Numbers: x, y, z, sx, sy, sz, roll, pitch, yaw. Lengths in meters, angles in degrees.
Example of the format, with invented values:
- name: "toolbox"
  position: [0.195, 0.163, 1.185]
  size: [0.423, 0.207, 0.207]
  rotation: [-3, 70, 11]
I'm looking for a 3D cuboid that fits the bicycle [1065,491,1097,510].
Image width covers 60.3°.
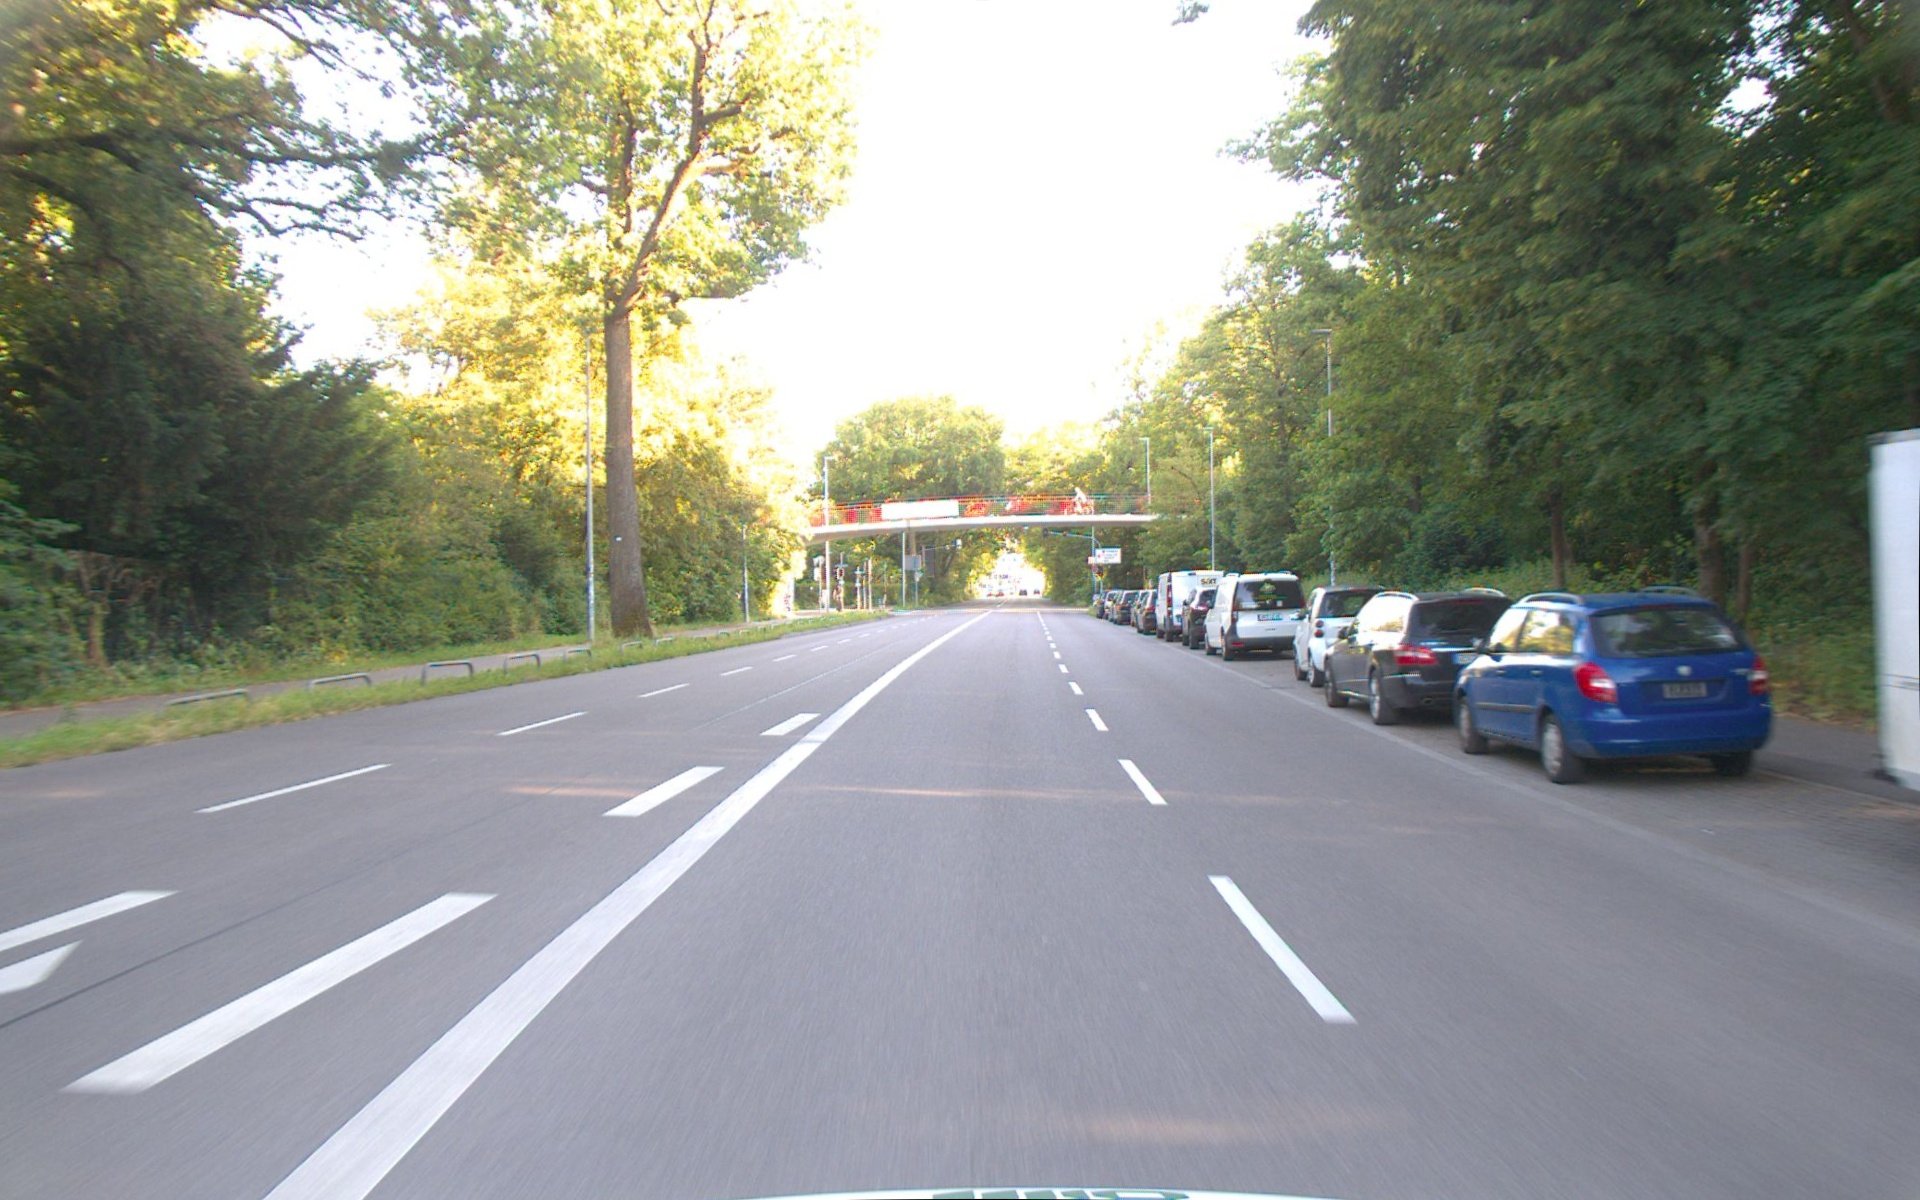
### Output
- name: "bicycle"
  position: [7.633, -6.279, 104.397]
  size: [1.946, 1.167, 0.714]
  rotation: [1, -1, 0]

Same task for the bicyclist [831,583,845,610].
- name: "bicyclist"
  position: [-7.309, -0.222, 99.077]
  size: [0.697, 1.586, 1.143]
  rotation: [1, -1, 2]

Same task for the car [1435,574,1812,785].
- name: "car"
  position: [5.675, 0.604, 14.769]
  size: [1.643, 1.562, 4.353]
  rotation: [-1, 0, 1]

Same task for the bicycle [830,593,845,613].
- name: "bicycle"
  position: [-7.320, 0.201, 99.074]
  size: [0.697, 1.167, 1.994]
  rotation: [1, 0, 2]

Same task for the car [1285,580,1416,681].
- name: "car"
  position: [6.356, 0.470, 27.209]
  size: [1.552, 1.521, 3.182]
  rotation: [-1, 0, 3]

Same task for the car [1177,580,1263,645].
- name: "car"
  position: [6.759, 0.313, 43.383]
  size: [1.722, 1.574, 4.430]
  rotation: [-1, 0, 2]

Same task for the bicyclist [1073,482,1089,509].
- name: "bicyclist"
  position: [7.650, -6.610, 104.405]
  size: [0.950, 1.614, 0.714]
  rotation: [1, -1, 0]

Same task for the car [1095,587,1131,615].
- name: "car"
  position: [8.309, 0.059, 89.812]
  size: [1.737, 1.479, 4.389]
  rotation: [-1, 0, 3]

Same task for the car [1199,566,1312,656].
- name: "car"
  position: [6.543, 0.233, 37.058]
  size: [1.723, 1.835, 4.738]
  rotation: [-1, 0, 1]

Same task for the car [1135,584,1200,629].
- name: "car"
  position: [7.010, 0.213, 56.303]
  size: [1.830, 1.431, 4.370]
  rotation: [-1, 0, 2]

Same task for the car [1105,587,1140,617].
- name: "car"
  position: [8.364, 0.100, 85.395]
  size: [1.737, 1.479, 4.016]
  rotation: [-1, 0, 5]

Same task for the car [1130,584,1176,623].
- name: "car"
  position: [7.690, 0.124, 66.112]
  size: [1.552, 1.479, 3.944]
  rotation: [-1, 0, 3]

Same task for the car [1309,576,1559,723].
- name: "car"
  position: [5.697, 0.542, 20.540]
  size: [1.723, 1.562, 4.989]
  rotation: [-1, 0, 1]

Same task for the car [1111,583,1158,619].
- name: "car"
  position: [7.612, 0.053, 72.485]
  size: [1.603, 1.479, 4.898]
  rotation: [-1, 0, 1]

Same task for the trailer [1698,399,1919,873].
- name: "trailer"
  position: [5.918, 0.171, 8.582]
  size: [1.865, 2.466, 5.127]
  rotation: [-1, 0, 0]

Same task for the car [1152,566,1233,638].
- name: "car"
  position: [6.922, 0.061, 49.708]
  size: [1.830, 2.016, 5.476]
  rotation: [-1, 0, 2]
